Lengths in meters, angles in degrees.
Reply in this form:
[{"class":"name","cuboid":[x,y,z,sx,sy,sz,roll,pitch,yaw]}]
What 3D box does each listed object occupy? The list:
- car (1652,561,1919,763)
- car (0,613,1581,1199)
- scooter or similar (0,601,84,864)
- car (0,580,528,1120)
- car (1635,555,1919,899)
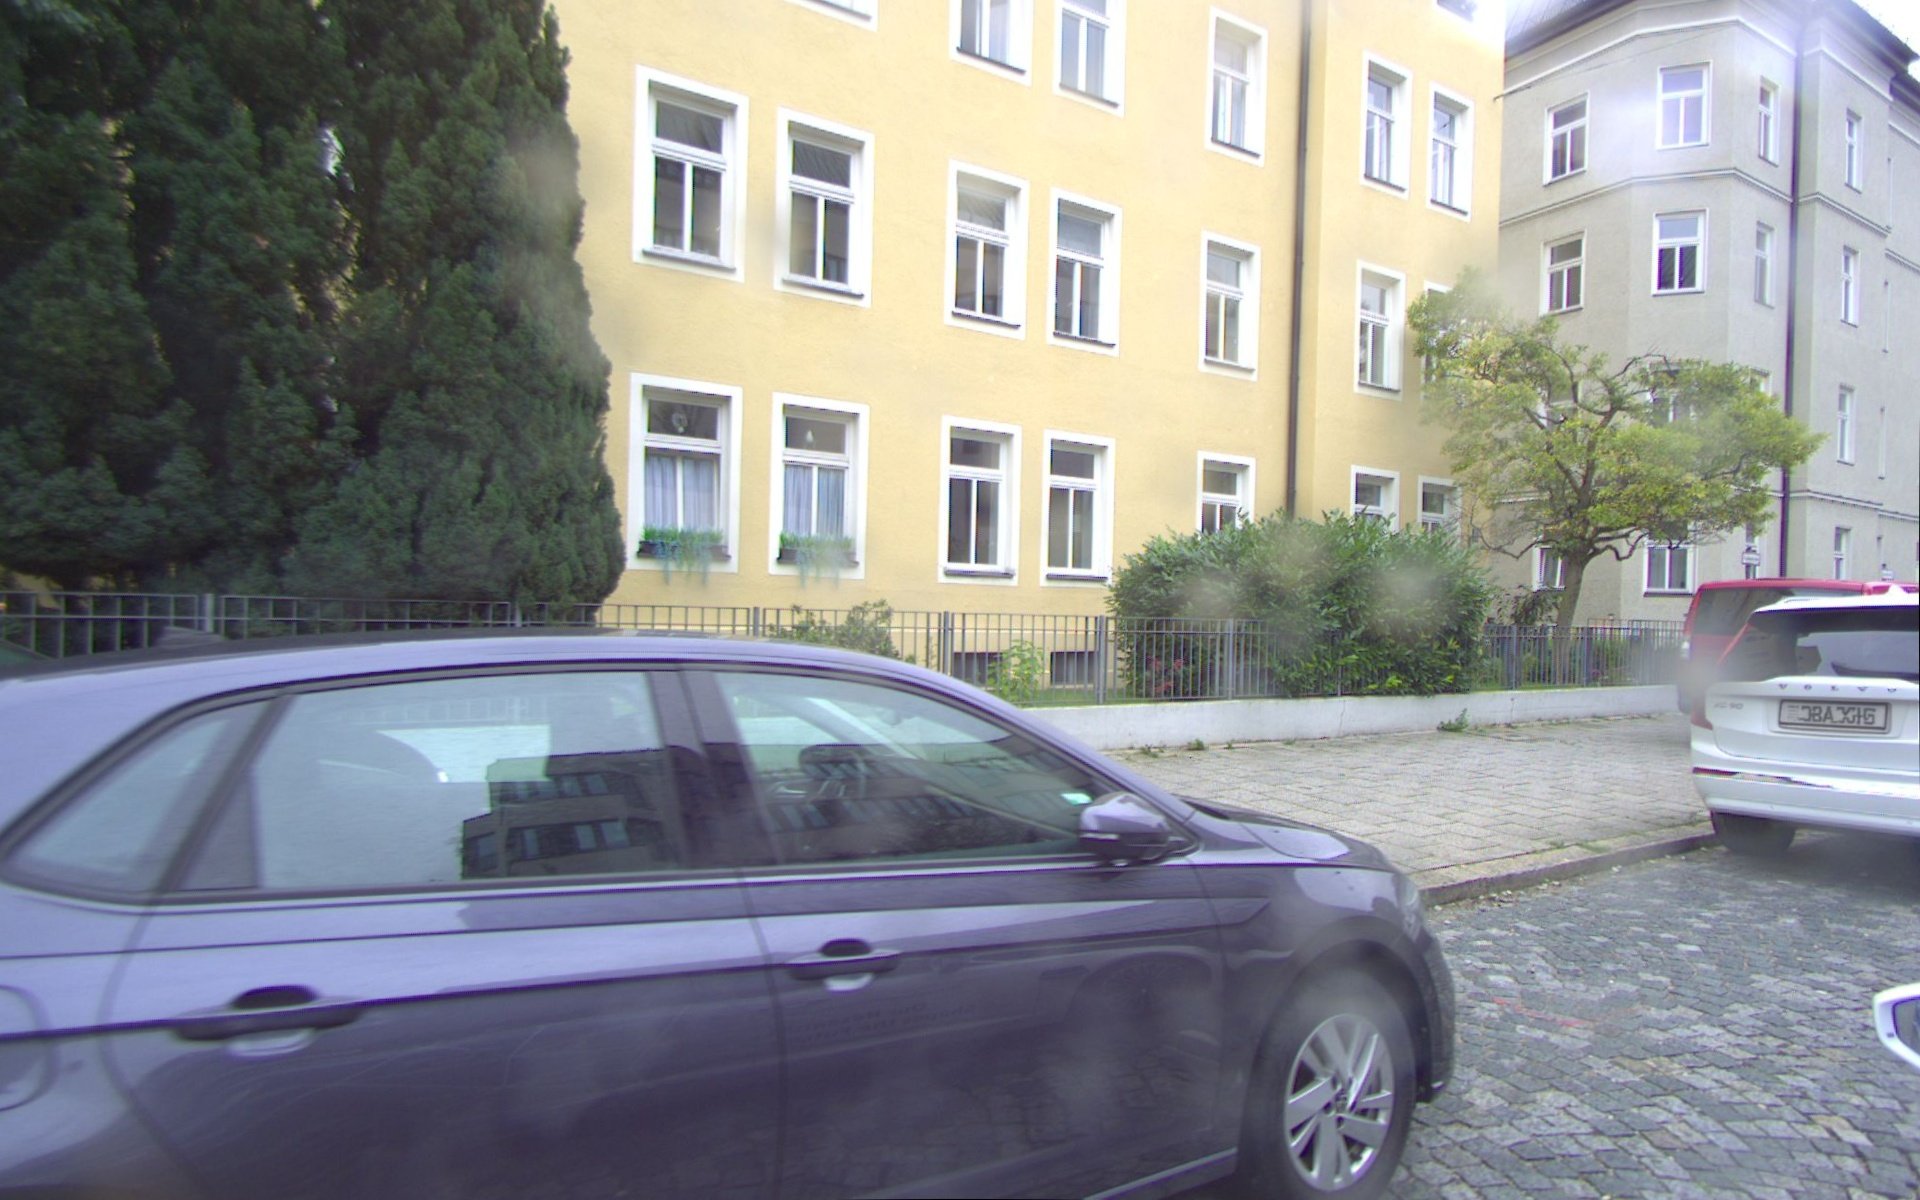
[{"class":"car","cuboid":[10.657,0.622,11.968,5.271,1.957,1.983,1,1,-32]},{"class":"car","cuboid":[-0.394,0.786,2.517,3.891,1.437,1.721,1,-2,-31]},{"class":"scooter or similar","cuboid":[-5.381,0.630,4.893,1.504,1.216,0.951,1,2,-30]},{"class":"car","cuboid":[-3.997,0.702,3.156,4.667,1.517,1.706,1,2,-31]},{"class":"car","cuboid":[7.137,0.736,6.999,5.113,1.832,1.997,1,-2,-30]}]
